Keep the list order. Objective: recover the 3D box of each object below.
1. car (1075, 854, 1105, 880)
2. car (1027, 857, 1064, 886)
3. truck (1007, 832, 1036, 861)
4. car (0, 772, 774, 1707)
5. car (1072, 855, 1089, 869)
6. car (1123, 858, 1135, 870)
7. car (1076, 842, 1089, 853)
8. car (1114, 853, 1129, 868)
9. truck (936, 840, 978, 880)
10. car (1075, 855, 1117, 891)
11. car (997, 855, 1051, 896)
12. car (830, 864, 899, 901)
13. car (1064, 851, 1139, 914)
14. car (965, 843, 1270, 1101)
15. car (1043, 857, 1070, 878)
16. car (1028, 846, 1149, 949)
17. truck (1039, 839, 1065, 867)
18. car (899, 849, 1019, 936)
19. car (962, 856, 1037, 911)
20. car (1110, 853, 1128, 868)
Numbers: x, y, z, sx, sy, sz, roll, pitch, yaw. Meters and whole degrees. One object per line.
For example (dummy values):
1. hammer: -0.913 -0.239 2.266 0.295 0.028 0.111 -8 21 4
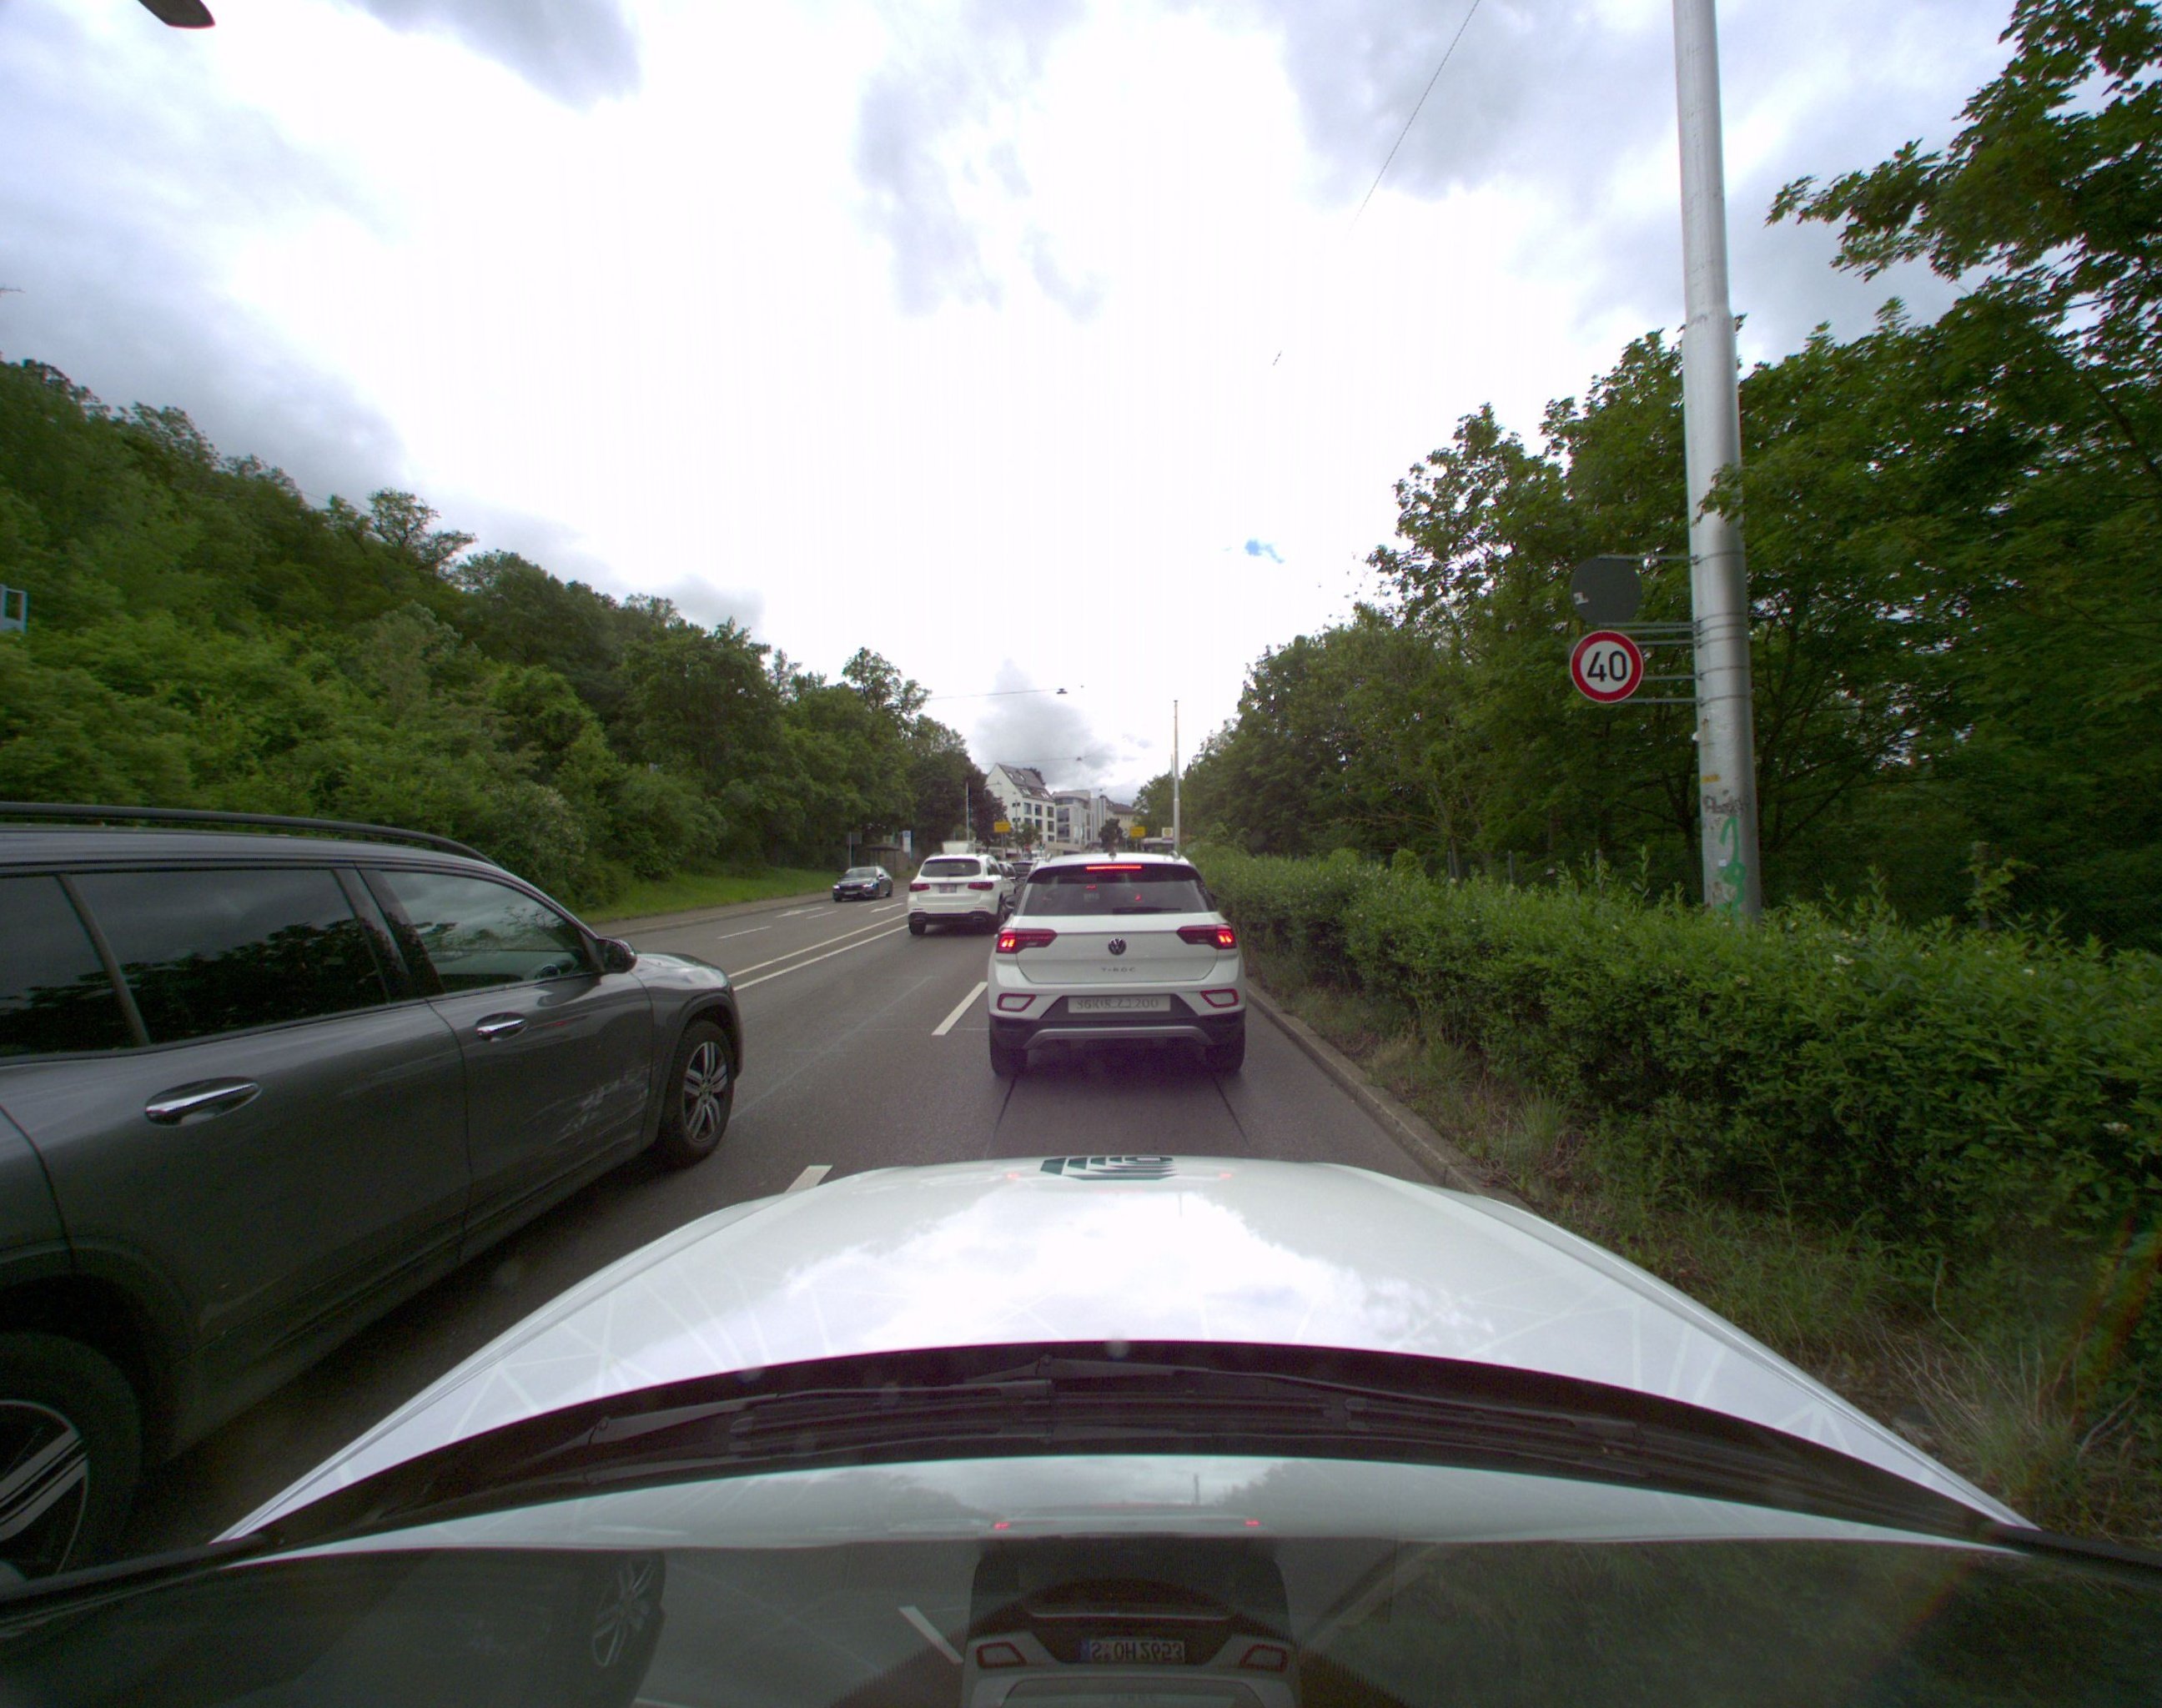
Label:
1. car: 0.594 0.812 53.172 1.823 1.526 4.001 -2 0 1
2. car: -2.033 0.993 47.480 1.823 1.526 4.001 -2 0 1
3. truck: -5.900 -0.686 81.128 2.354 2.706 4.478 -3 0 1
4. car: -2.760 0.707 2.612 1.843 1.651 4.357 -1 0 0
5. car: -0.018 0.939 94.491 1.823 1.526 4.001 -2 0 1
6. car: 8.522 1.799 145.850 1.986 2.014 4.002 -3 -2 2
7. car: 0.213 -0.915 116.857 1.823 1.526 4.001 -2 0 1
8. car: 5.719 0.964 115.876 1.986 2.013 4.001 -2 0 2
9. truck: -10.102 0.478 67.065 2.286 3.051 6.977 -3 -1 0
10. car: 0.693 0.826 37.604 1.823 1.526 4.001 -2 0 1
11. car: -2.311 0.860 33.999 1.823 1.526 4.001 -2 0 1
12. car: -9.310 1.205 35.358 1.673 1.395 4.361 -3 0 1
13. car: 0.556 0.722 22.626 1.823 1.526 4.001 -2 0 1
14. car: 0.256 0.726 6.977 1.823 1.526 4.001 -2 0 1
15. car: -1.847 0.994 63.064 1.823 1.526 4.001 -2 0 1
16. car: 0.151 0.683 14.655 1.823 1.526 4.001 -2 0 1
17. truck: -3.022 -0.073 85.638 2.354 2.782 4.478 -3 0 1
18. car: -2.506 0.748 17.716 1.911 1.669 4.001 -1 0 1
19. car: -2.458 0.847 25.401 1.823 1.497 4.001 -2 0 1
20. car: 4.320 0.730 92.841 1.823 1.526 4.001 -2 0 1
